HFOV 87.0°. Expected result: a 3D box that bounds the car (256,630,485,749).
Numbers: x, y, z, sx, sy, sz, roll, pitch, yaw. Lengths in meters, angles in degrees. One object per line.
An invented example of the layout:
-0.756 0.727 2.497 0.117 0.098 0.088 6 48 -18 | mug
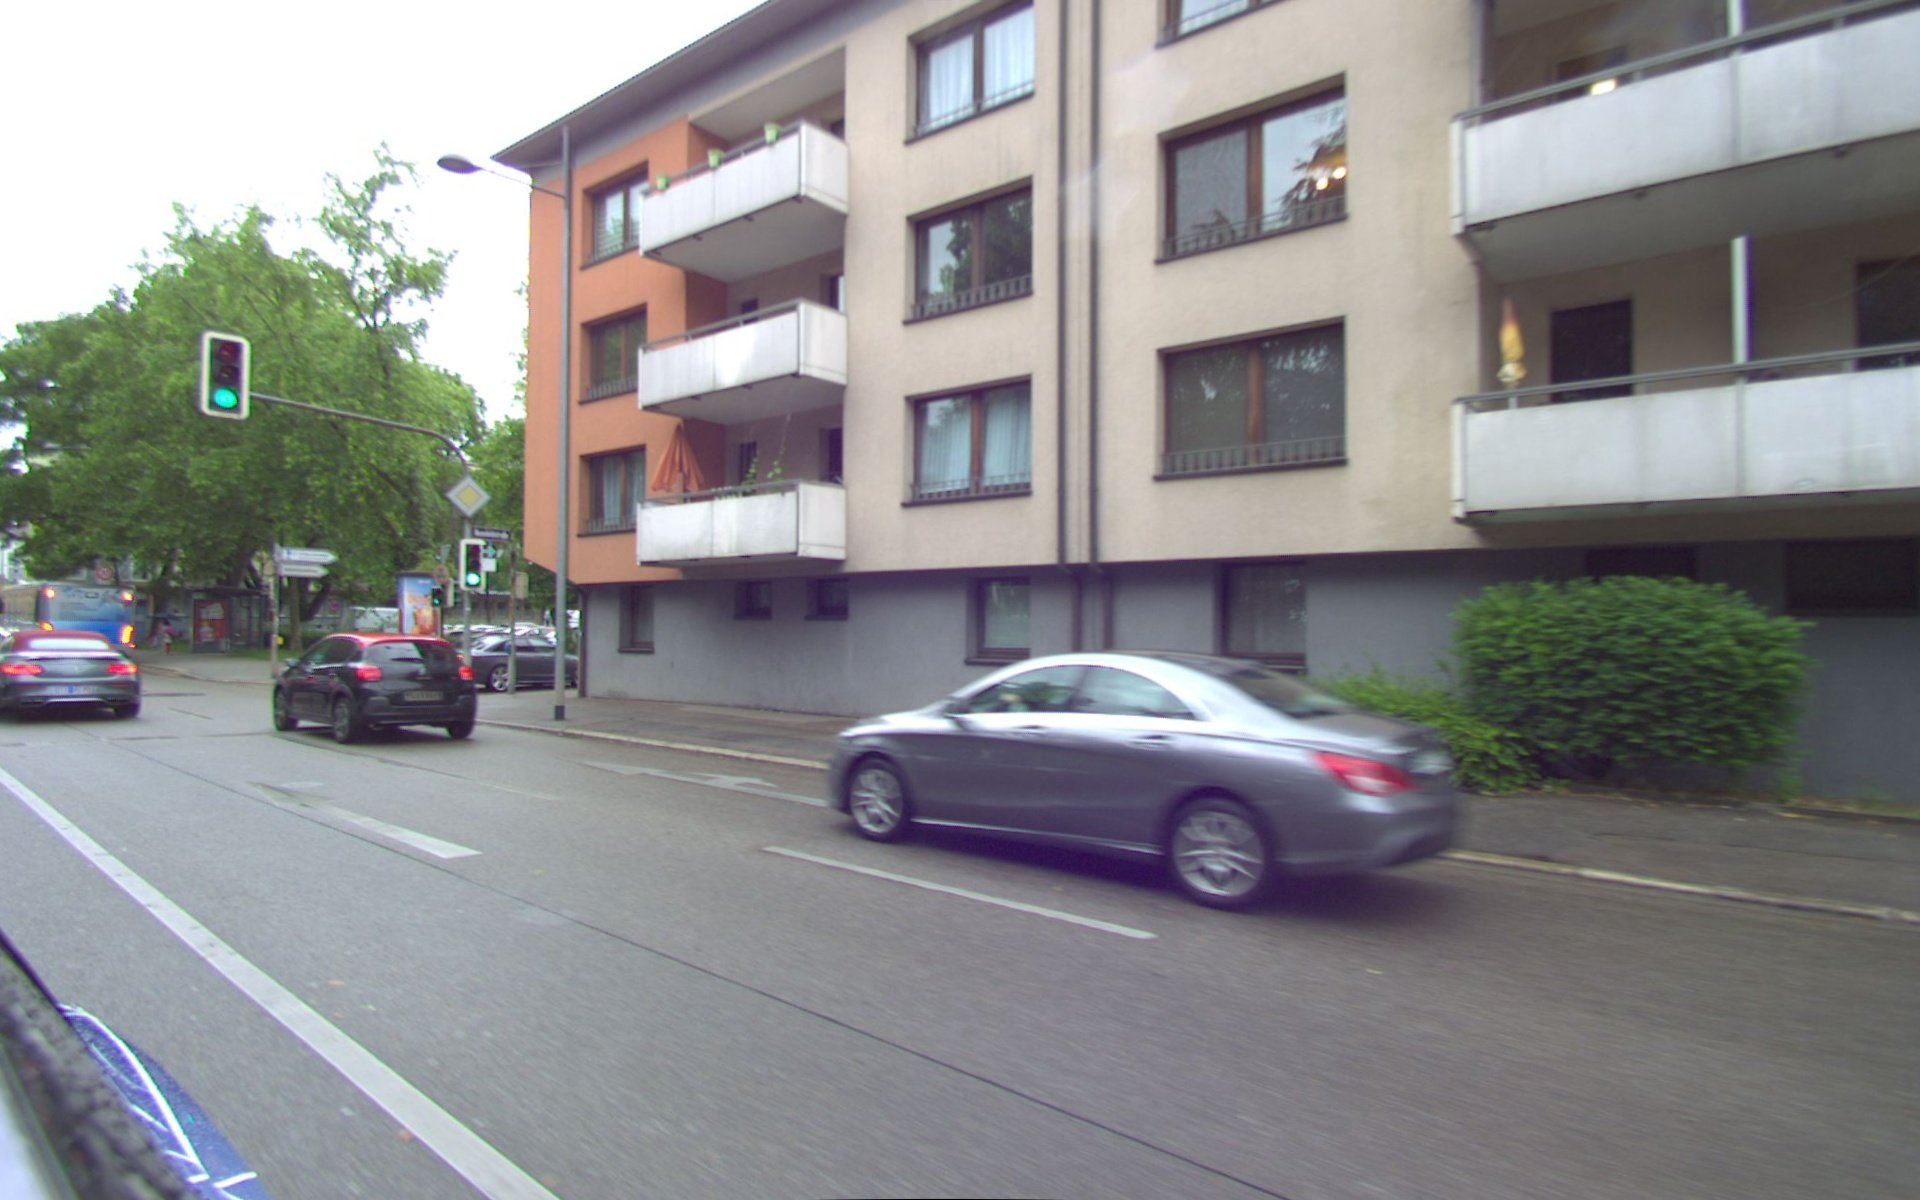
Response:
-8.650 1.221 14.745 3.887 1.503 1.669 -2 -4 41 | car

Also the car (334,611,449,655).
-26.298 1.548 46.938 1.701 1.937 4.280 -2 -3 38 | car

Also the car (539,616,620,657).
-24.869 2.398 66.241 1.999 2.633 4.521 -2 -3 42 | car

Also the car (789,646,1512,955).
0.979 1.045 6.997 4.682 1.426 1.793 -2 -4 43 | car

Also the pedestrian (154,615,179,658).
-34.028 1.566 43.380 0.687 1.782 0.702 -1 0 41 | pedestrian

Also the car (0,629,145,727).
-15.092 1.230 16.692 4.332 1.426 1.775 -2 -4 41 | car

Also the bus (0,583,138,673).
-34.023 1.031 38.116 12.078 2.962 2.665 -1 -3 41 | bus

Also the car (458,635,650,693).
-11.036 1.761 27.895 1.812 1.426 4.756 0 -3 30 | car
